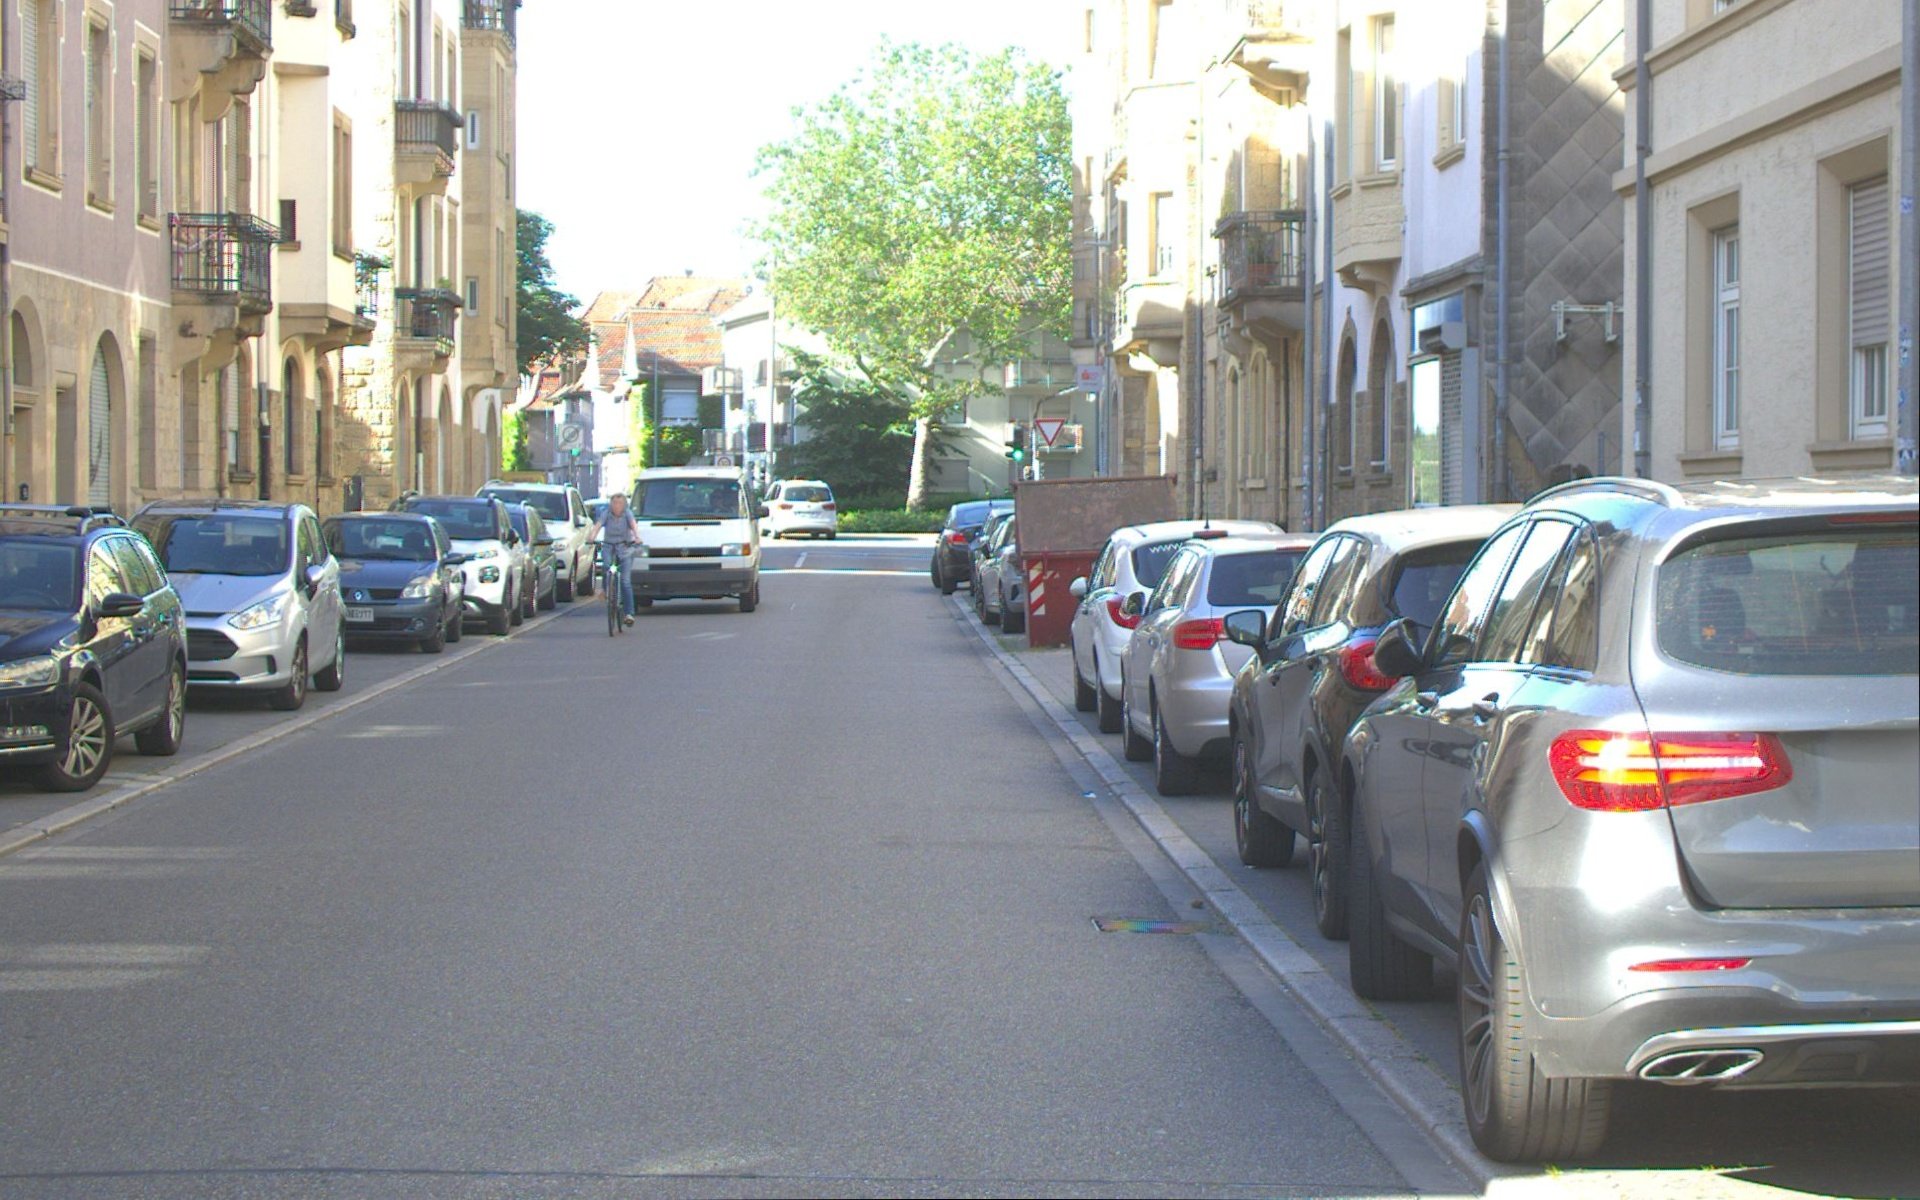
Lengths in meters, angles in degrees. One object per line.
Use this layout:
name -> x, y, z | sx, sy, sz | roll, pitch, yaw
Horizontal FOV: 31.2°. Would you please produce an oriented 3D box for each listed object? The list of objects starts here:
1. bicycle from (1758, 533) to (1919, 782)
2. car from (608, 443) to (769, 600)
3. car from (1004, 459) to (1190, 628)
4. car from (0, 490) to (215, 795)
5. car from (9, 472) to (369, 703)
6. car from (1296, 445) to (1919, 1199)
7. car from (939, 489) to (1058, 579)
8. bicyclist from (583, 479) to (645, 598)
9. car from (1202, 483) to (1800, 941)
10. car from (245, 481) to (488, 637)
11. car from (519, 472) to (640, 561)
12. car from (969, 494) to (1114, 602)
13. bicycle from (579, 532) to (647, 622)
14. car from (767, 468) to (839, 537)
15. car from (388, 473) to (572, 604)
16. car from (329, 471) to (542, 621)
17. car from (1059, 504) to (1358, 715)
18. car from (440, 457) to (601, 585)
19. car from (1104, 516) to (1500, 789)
bicycle -> 5.166, 0.278, 19.089 | 0.761, 1.242, 2.592 | 0, 2, -2
car -> -3.719, -1.093, 47.798 | 2.003, 1.993, 4.488 | 2, 1, -3
car -> 1.481, -0.609, 38.493 | 1.838, 1.781, 4.029 | 0, 0, -1
car -> -5.805, 0.140, 20.223 | 2.003, 1.576, 4.488 | 2, 1, -3
car -> -6.047, -0.140, 27.485 | 2.003, 1.613, 4.488 | 2, 1, -3
car -> 2.130, 0.466, 9.638 | 1.913, 1.639, 4.773 | -1, 1, 0
car -> 0.612, -1.075, 57.303 | 1.838, 1.426, 4.029 | -1, 0, -1
bicyclist -> -4.091, -0.729, 40.674 | 0.662, 1.381, 0.754 | -1, 1, -3
car -> 2.071, 0.378, 14.260 | 1.745, 1.602, 4.029 | -1, 1, -1
car -> -6.236, -0.459, 36.578 | 1.978, 1.477, 4.329 | 2, 1, -3
car -> -7.415, -1.627, 67.328 | 2.003, 1.600, 4.488 | 2, 1, -3
car -> 1.097, -0.709, 48.182 | 1.838, 1.426, 4.029 | -1, 0, -1
bicycle -> -4.094, -0.282, 40.671 | 0.662, 1.015, 2.067 | -1, 1, -3
car -> -4.612, -2.858, 101.675 | 2.003, 1.907, 4.488 | 2, 1, -2
car -> -6.463, -0.849, 46.732 | 2.003, 1.613, 4.488 | 2, 1, -3
car -> -6.225, -0.666, 41.232 | 2.003, 1.613, 4.488 | 2, 1, -3
car -> 1.771, 0.045, 25.711 | 1.838, 1.426, 4.029 | -1, 1, -1
car -> -6.638, -1.208, 52.361 | 2.003, 1.782, 4.488 | 2, 1, -3
car -> 1.907, 0.258, 20.324 | 1.838, 1.426, 4.029 | -1, 1, -1
